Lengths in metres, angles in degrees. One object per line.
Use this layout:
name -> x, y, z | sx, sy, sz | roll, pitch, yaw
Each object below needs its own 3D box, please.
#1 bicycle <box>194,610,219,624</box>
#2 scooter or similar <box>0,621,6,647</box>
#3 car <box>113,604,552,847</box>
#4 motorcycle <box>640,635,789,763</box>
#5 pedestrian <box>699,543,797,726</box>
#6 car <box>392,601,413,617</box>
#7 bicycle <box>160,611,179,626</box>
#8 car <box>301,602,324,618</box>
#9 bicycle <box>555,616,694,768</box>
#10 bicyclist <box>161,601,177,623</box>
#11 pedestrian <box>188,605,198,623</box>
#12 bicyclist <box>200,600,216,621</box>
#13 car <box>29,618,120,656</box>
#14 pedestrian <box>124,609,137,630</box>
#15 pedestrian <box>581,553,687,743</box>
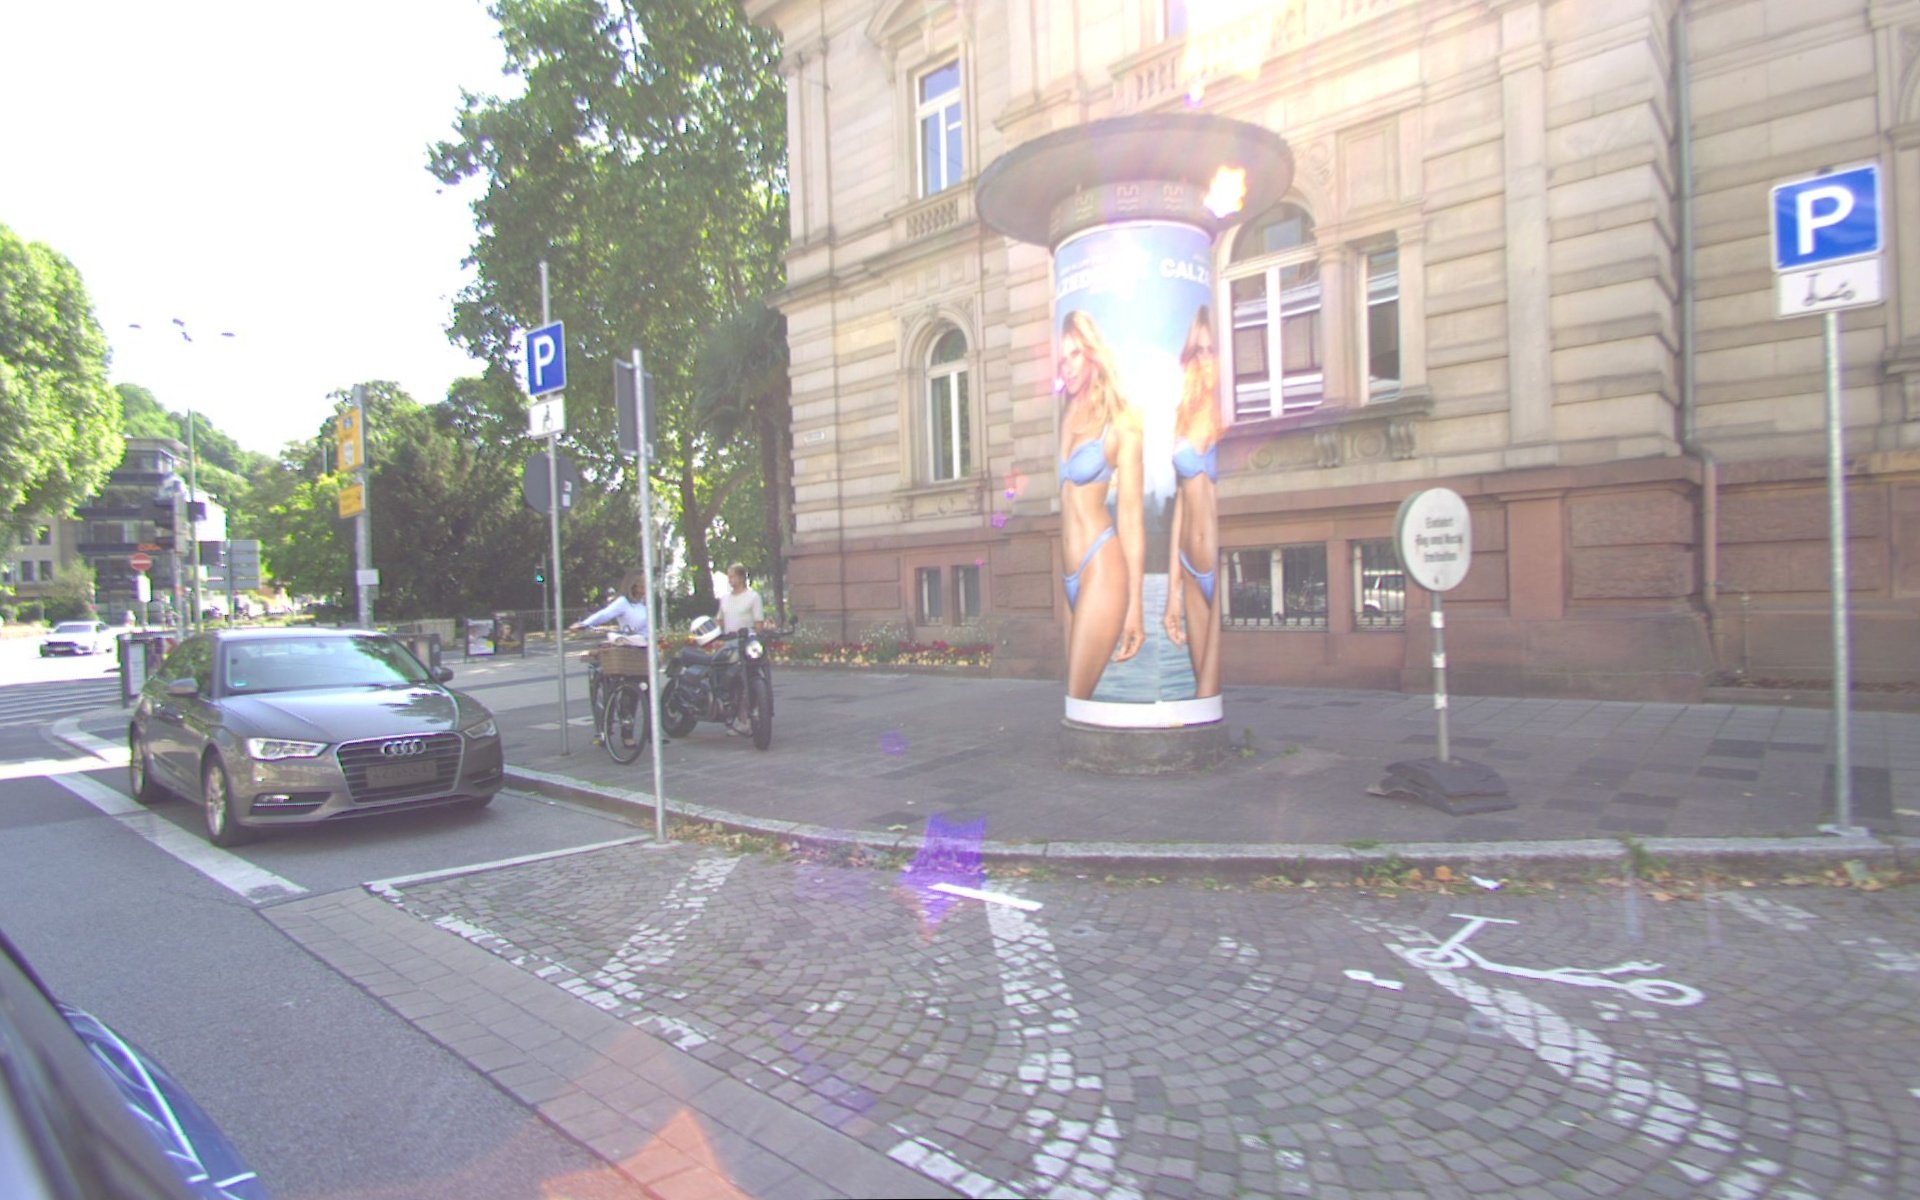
bicycle -> -60.890, 1.397, 81.775 | 0.700, 1.062, 2.212 | -2, 1, -11
scooter or similar -> -50.760, 1.809, 52.897 | 0.807, 1.308, 1.702 | -1, 1, -27
car -> -5.126, 0.791, 7.994 | 4.250, 1.365, 1.915 | -3, -1, 43
motorcycle -> -2.364, 0.872, 9.524 | 0.448, 1.005, 2.165 | -4, 2, -38
pedestrian -> -2.070, 0.311, 9.836 | 0.542, 1.677, 0.938 | -1, 1, -39
car -> -61.786, 0.980, 112.094 | 1.820, 1.674, 4.012 | -2, 1, -31
bicycle -> -60.065, 1.400, 76.908 | 0.747, 1.129, 2.008 | -1, 1, -28
car -> -74.389, 1.151, 116.289 | 1.820, 1.801, 4.013 | -2, 0, -28
bicycle -> -3.044, 0.744, 9.020 | 0.424, 1.128, 2.248 | -4, 3, -37
bicyclist -> -60.053, 0.892, 76.863 | 0.753, 1.648, 0.946 | -1, 1, -28
pedestrian -> -75.252, 1.341, 99.234 | 0.592, 1.717, 0.606 | -2, 1, -22
bicyclist -> -60.809, 0.831, 81.856 | 0.700, 1.625, 0.733 | -2, 1, -11
car -> -38.356, 1.557, 43.961 | 1.909, 1.440, 4.564 | -2, 0, -27
pedestrian -> -66.557, 1.552, 81.206 | 0.699, 1.685, 0.536 | -2, 1, -31
pedestrian -> -3.076, 0.426, 9.560 | 0.691, 1.708, 0.686 | 0, 1, 44
